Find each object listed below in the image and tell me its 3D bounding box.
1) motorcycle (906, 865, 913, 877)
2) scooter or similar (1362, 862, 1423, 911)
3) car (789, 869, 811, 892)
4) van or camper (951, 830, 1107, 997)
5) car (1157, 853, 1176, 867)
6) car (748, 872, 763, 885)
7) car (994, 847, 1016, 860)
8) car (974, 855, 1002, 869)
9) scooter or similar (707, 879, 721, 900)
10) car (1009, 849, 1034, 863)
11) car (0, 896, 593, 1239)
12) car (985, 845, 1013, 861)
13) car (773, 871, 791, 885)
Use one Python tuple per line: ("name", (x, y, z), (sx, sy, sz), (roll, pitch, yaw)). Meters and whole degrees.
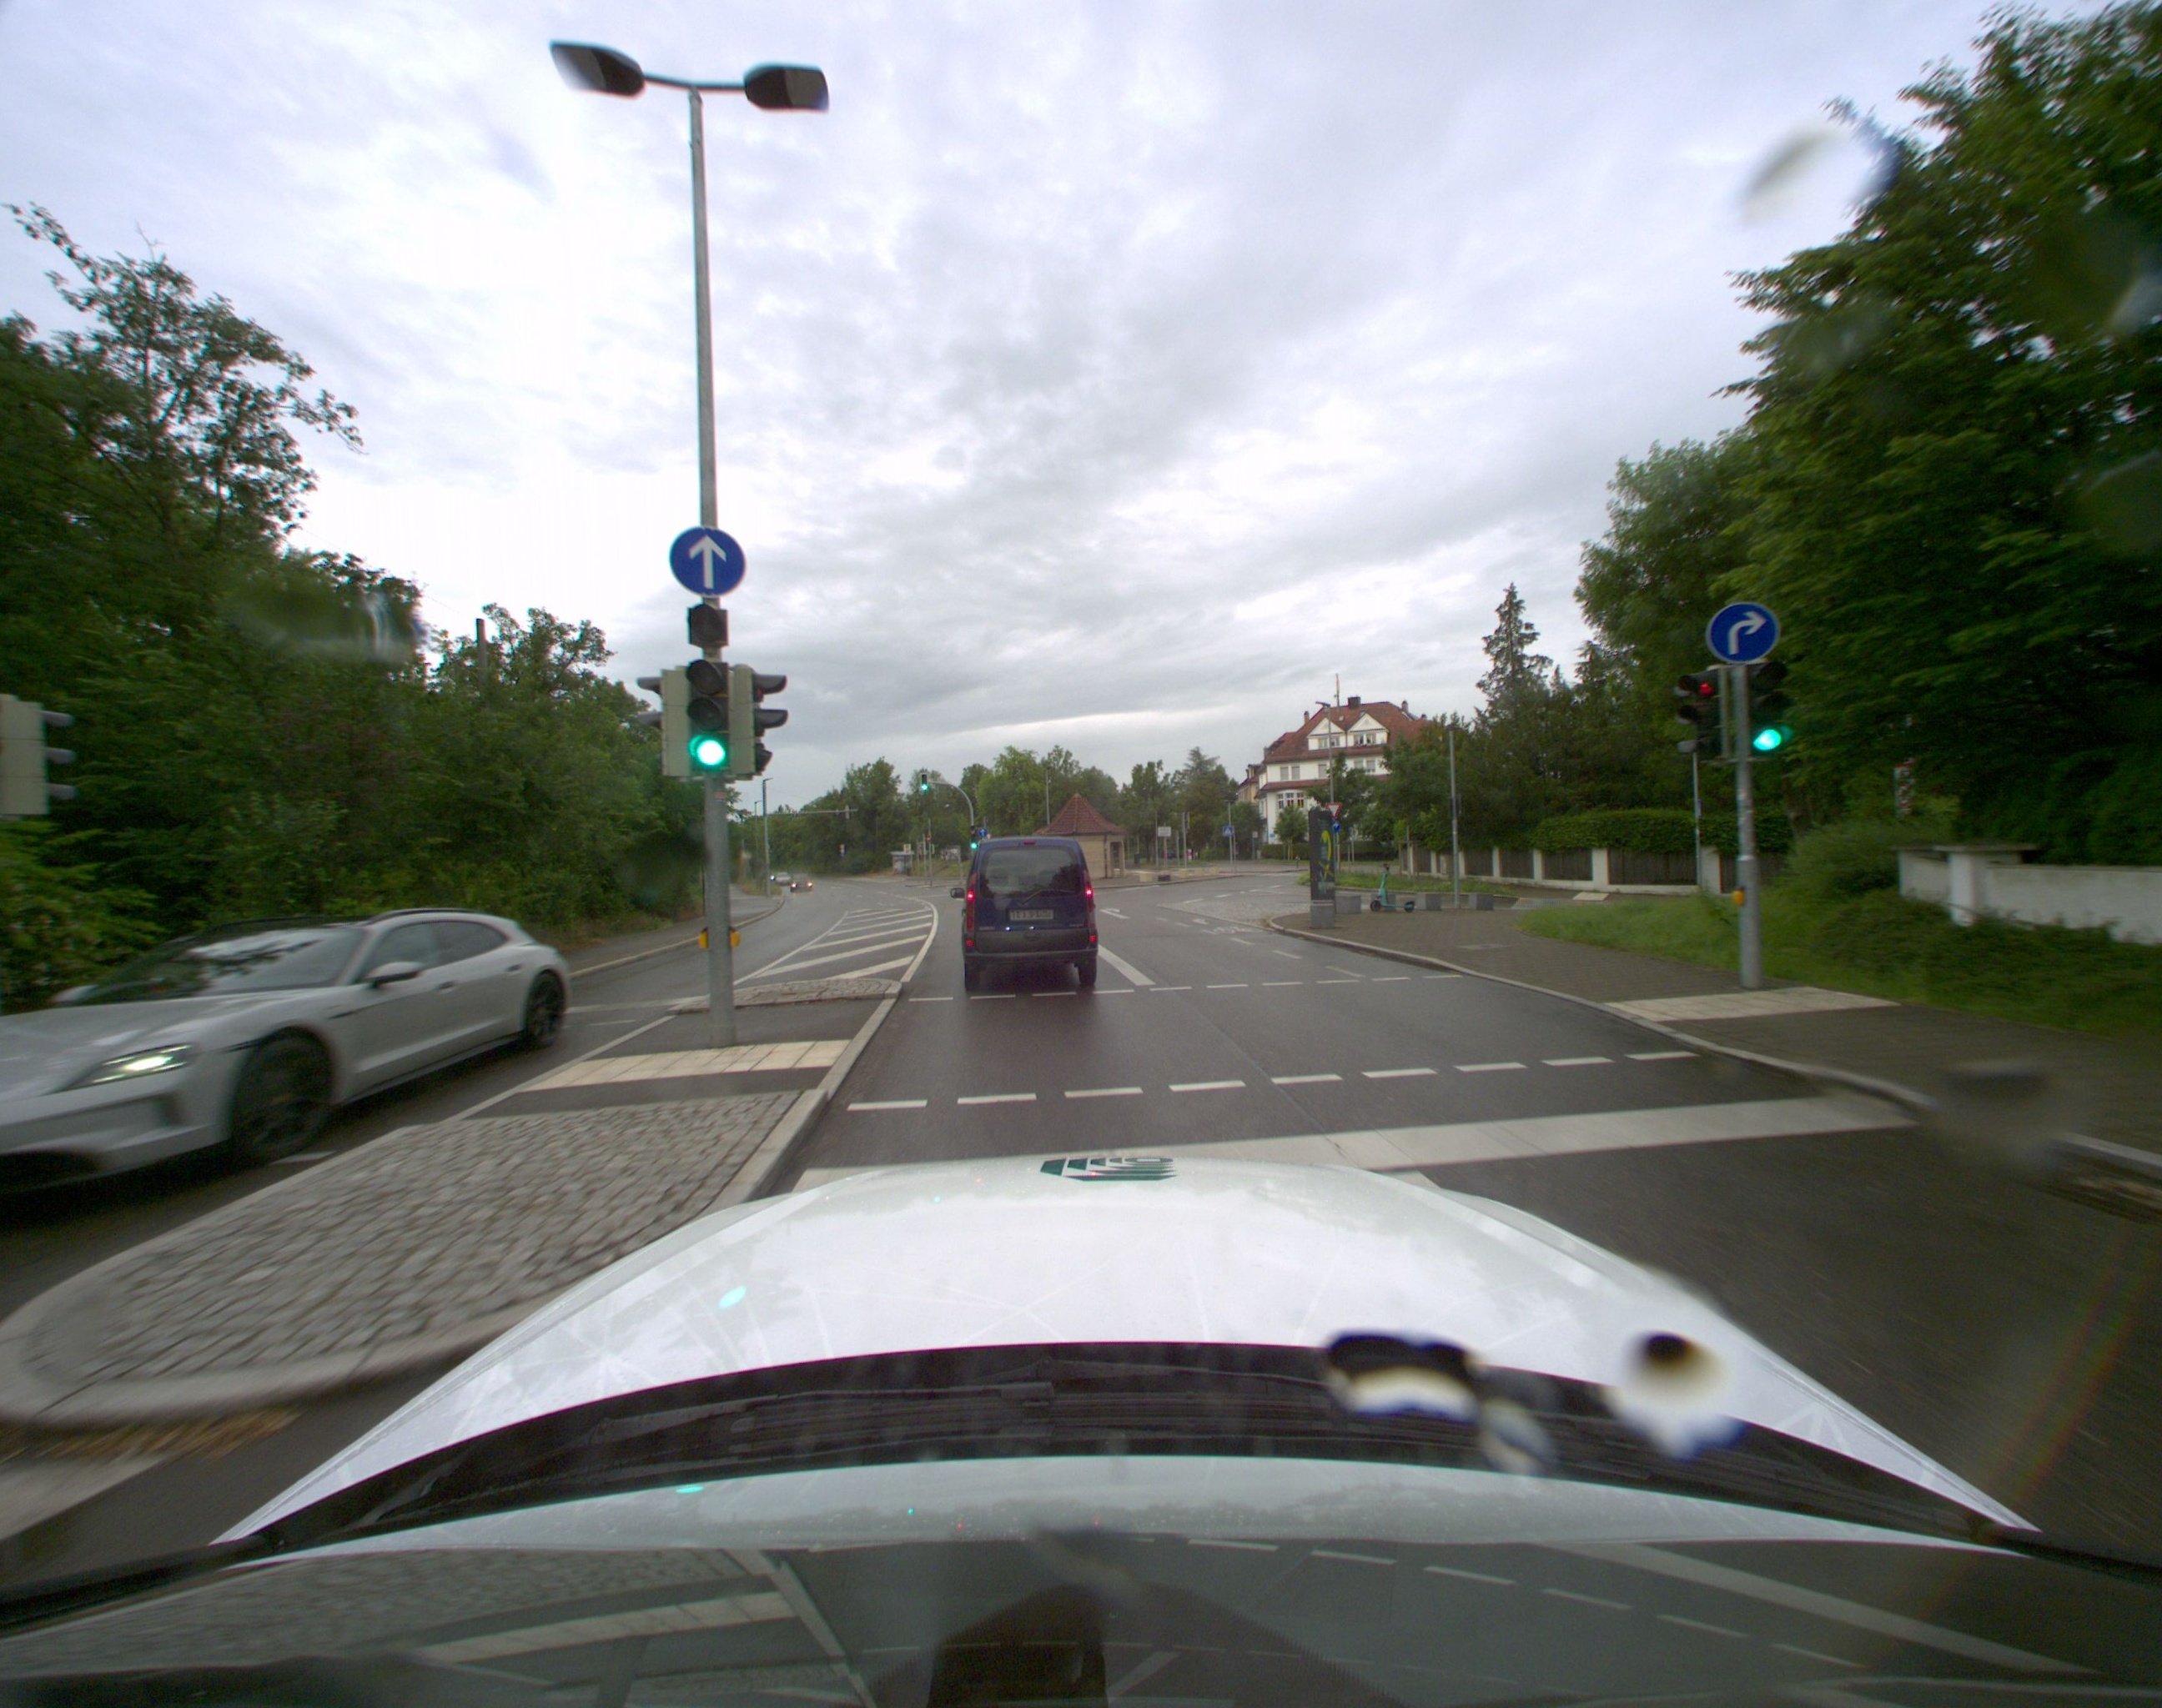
("motorcycle", (-18.664, 1.859, 88.472), (0.589, 1.289, 1.533), (-3, 0, -9))
("scooter or similar", (7.925, 0.818, 20.741), (1.347, 1.207, 0.523), (0, -2, -8))
("car", (-23.215, 2.188, 67.340), (1.581, 1.730, 3.749), (-4, 0, -20))
("van or camper", (-0.807, 0.687, 11.252), (1.711, 1.826, 3.990), (-2, 0, -7))
("car", (12.911, 0.849, 122.850), (1.991, 2.013, 3.992), (-2, 0, -5))
("car", (-46.982, 3.518, 117.592), (1.796, 1.581, 4.527), (-4, 0, -22))
("car", (-9.634, -0.062, 103.335), (1.891, 1.480, 4.042), (-2, -1, -19))
("car", (-10.351, 0.910, 90.592), (2.002, 1.480, 4.252), (-1, -1, -22))
("scooter or similar", (-22.245, 2.148, 49.326), (0.518, 1.212, 1.461), (-2, 0, -15))
("car", (-6.834, 0.272, 93.083), (1.890, 1.480, 4.044), (-1, -1, -18))
("car", (-5.769, 1.160, 6.025), (1.939, 1.376, 4.592), (-4, 0, -7))
("car", (-8.729, -0.117, 86.462), (2.001, 1.662, 3.971), (0, -1, -22))
("car", (-32.308, 2.597, 88.003), (1.747, 1.352, 4.179), (-4, 0, -21))
